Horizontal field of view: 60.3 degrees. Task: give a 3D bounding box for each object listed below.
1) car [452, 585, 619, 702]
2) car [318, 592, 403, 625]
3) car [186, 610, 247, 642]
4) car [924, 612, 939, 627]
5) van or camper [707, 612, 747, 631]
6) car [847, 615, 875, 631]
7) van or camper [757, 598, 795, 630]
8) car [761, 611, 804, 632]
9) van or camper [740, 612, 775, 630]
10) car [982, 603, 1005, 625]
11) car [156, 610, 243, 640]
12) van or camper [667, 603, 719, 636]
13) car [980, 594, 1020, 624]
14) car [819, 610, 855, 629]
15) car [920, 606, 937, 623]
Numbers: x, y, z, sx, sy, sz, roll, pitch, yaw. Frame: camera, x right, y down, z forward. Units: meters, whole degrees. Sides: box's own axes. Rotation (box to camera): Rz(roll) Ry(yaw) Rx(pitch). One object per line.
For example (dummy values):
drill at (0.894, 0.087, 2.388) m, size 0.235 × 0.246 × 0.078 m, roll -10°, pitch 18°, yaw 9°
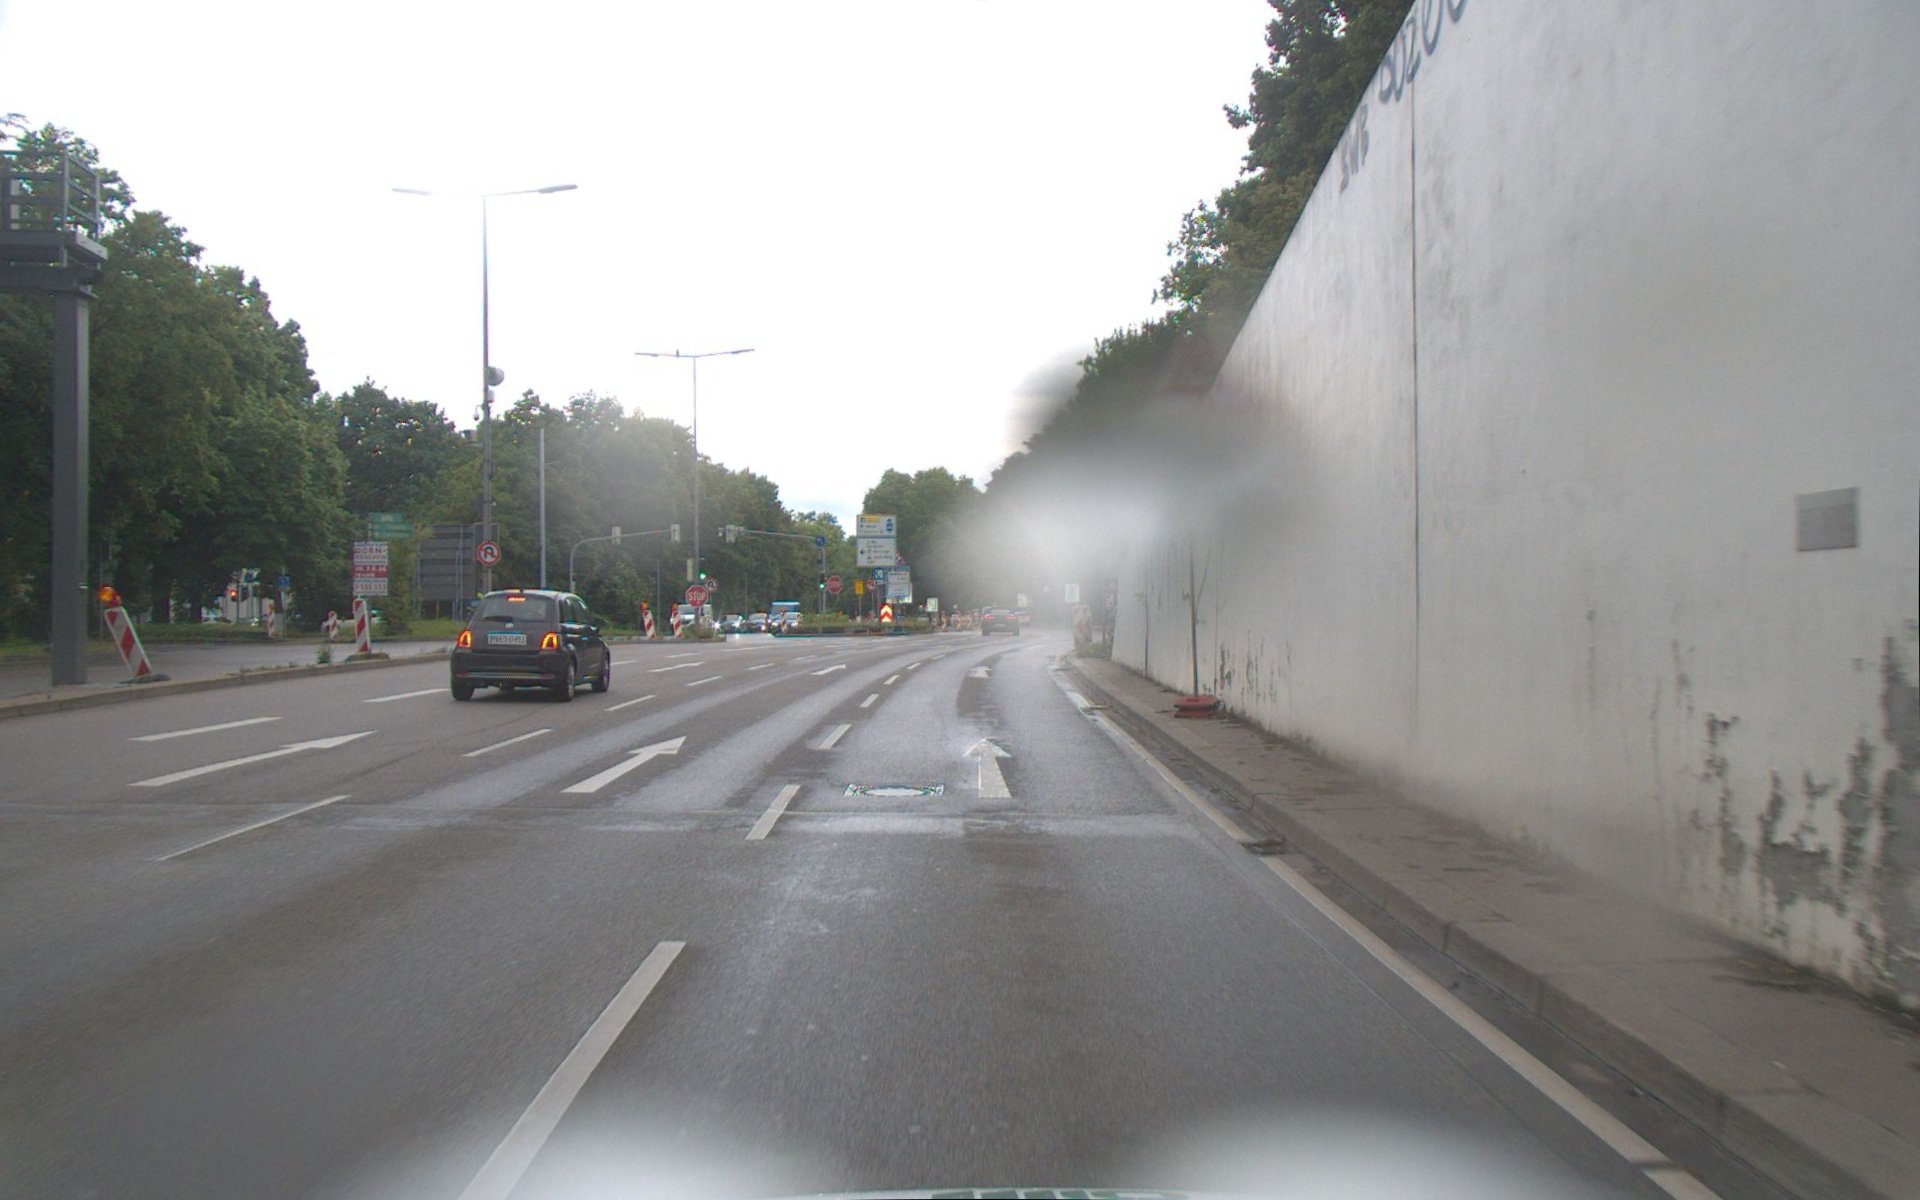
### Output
car at (-5.936, 0.554, 23.490) m, size 1.580 × 1.479 × 3.571 m, roll 1°, pitch 1°, yaw -3°
car at (-32.858, 0.458, 90.728) m, size 3.905 × 1.713 × 1.898 m, roll -1°, pitch 1°, yaw 0°
car at (-43.666, 1.504, 97.233) m, size 1.853 × 1.713 × 3.999 m, roll -1°, pitch 1°, yaw -2°
car at (-3.870, 2.595, 222.219) m, size 1.954 × 2.049 × 3.998 m, roll 0°, pitch 0°, yaw -3°
van or camper at (-16.861, 1.552, 119.795) m, size 1.967 × 1.324 × 4.094 m, roll 0°, pitch -1°, yaw 5°
car at (-8.395, 1.982, 140.425) m, size 1.967 × 1.324 × 4.316 m, roll 0°, pitch -1°, yaw 2°
van or camper at (-13.912, 1.052, 125.259) m, size 2.083 × 2.390 × 4.429 m, roll 0°, pitch -1°, yaw 5°
car at (-11.435, 1.391, 106.809) m, size 1.967 × 1.324 × 4.318 m, roll 0°, pitch -1°, yaw 5°
van or camper at (-16.043, 1.655, 131.138) m, size 1.967 × 1.324 × 4.094 m, roll 0°, pitch -1°, yaw 5°
car at (3.172, 1.302, 156.378) m, size 1.954 × 2.049 × 3.998 m, roll 0°, pitch 0°, yaw -3°
car at (-42.093, 1.375, 91.613) m, size 3.905 × 1.540 × 1.898 m, roll -1°, pitch 1°, yaw 0°
van or camper at (-17.231, 1.236, 106.907) m, size 2.083 × 2.049 × 5.317 m, roll 0°, pitch -1°, yaw 5°
car at (2.001, 0.467, 84.037) m, size 1.952 × 1.473 × 4.315 m, roll 0°, pitch -1°, yaw 1°
car at (-8.735, 1.391, 117.773) m, size 1.967 × 1.324 × 4.318 m, roll 0°, pitch -1°, yaw 5°
car at (-3.975, 1.779, 207.240) m, size 1.954 × 2.049 × 3.998 m, roll 0°, pitch 0°, yaw -3°
